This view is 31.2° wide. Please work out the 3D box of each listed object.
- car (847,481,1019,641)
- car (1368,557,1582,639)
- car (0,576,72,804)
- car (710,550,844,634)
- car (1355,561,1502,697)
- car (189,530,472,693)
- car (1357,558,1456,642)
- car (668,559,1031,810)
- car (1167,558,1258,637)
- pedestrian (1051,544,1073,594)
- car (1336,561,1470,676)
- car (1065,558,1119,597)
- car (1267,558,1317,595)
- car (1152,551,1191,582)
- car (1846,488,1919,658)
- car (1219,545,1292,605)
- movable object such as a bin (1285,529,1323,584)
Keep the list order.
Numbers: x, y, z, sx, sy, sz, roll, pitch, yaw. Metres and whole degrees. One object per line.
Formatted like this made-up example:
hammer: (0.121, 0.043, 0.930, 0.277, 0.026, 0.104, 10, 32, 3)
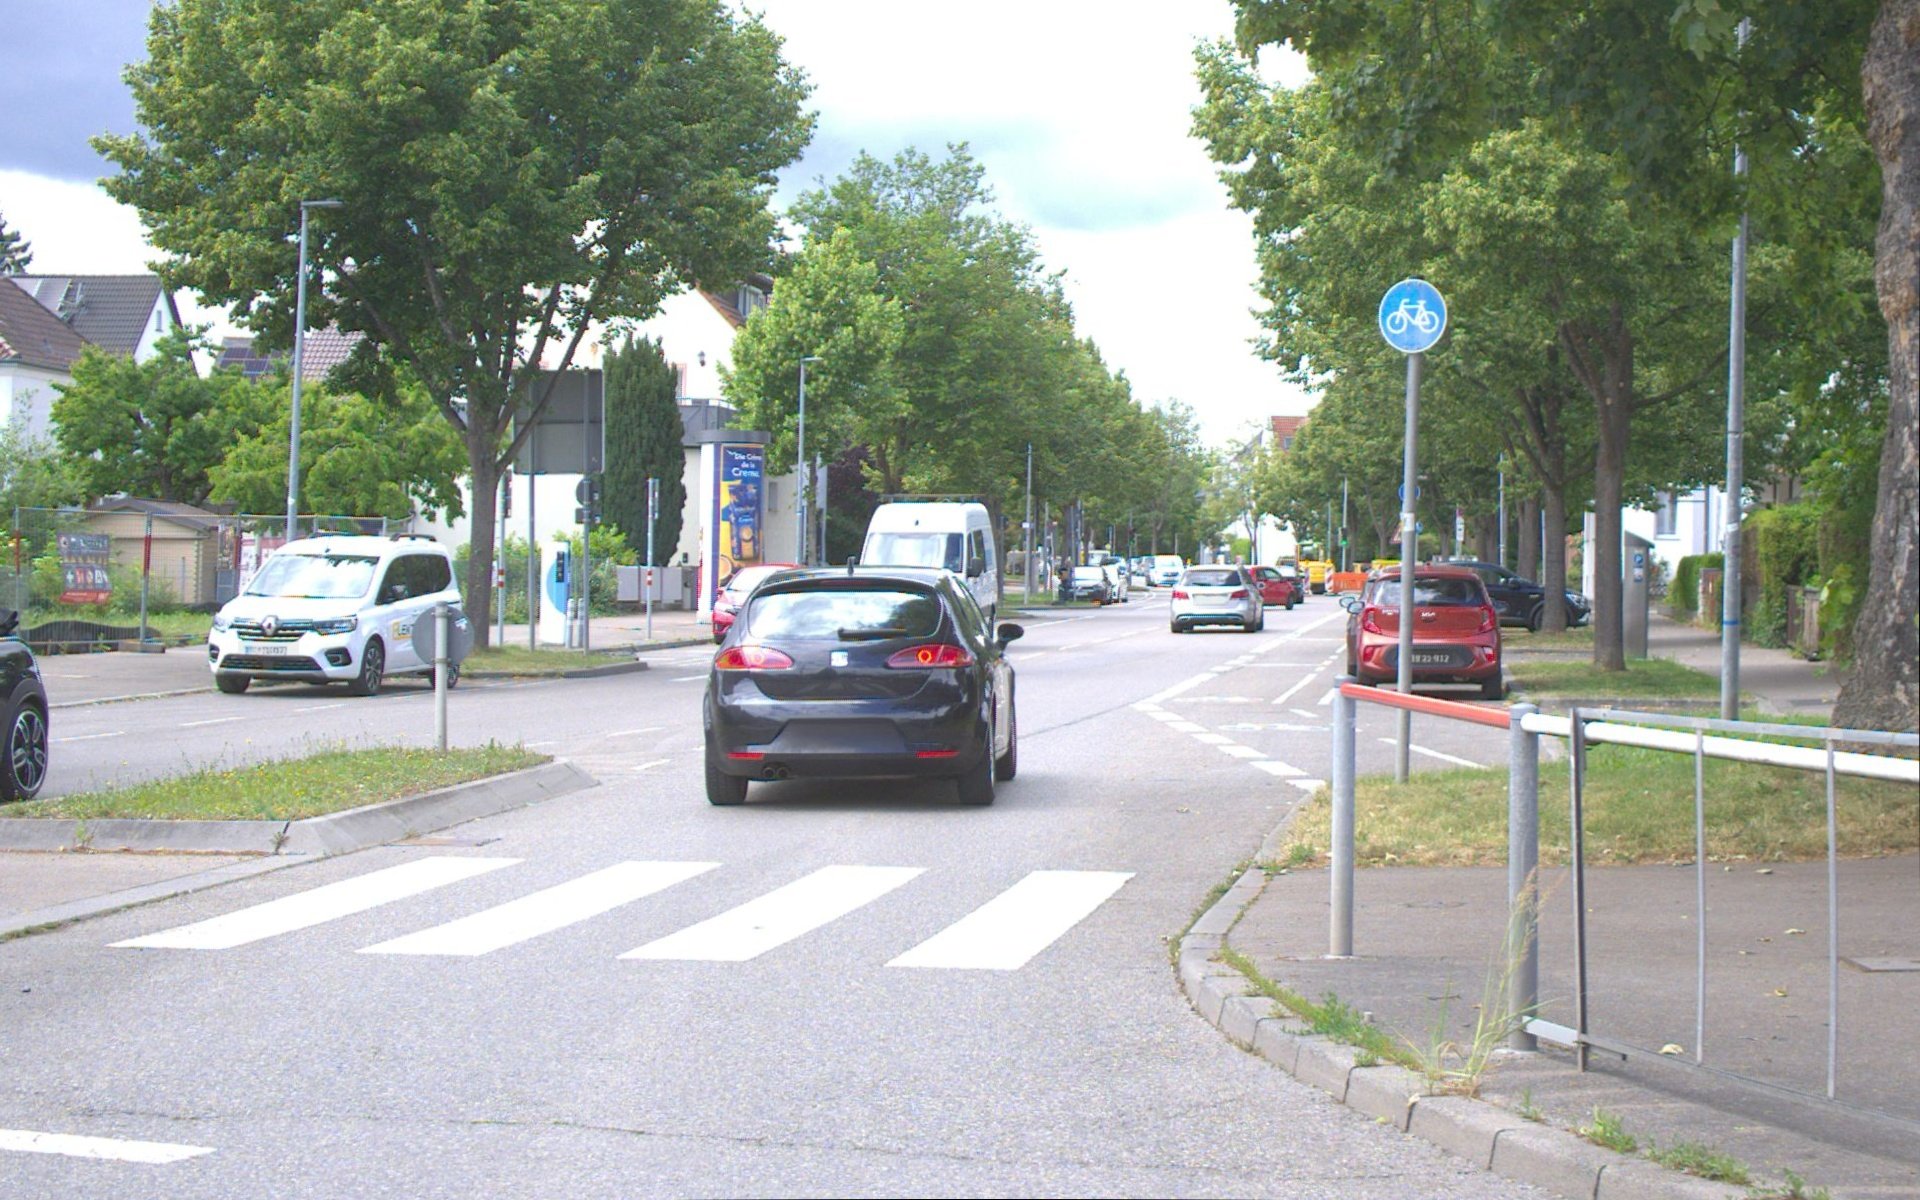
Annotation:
car: (-0.409, -0.699, 60.647, 2.020, 2.665, 5.803, 1, 1, 10)
car: (10.644, -0.052, 71.205, 4.217, 1.632, 1.693, 0, 1, 3)
car: (-6.691, 0.547, 19.955, 1.574, 1.357, 3.741, 1, 1, 10)
car: (-3.491, -0.182, 66.216, 1.686, 1.536, 4.130, 1, 1, 10)
car: (5.331, 0.314, 39.180, 1.565, 1.450, 3.667, 1, 0, 8)
car: (-7.249, 0.091, 40.051, 1.771, 1.764, 4.549, 1, 1, 10)
car: (7.907, -0.027, 61.170, 1.653, 1.411, 4.176, -1, 1, 6)
car: (-0.603, 0.463, 21.665, 1.819, 1.433, 3.739, 0, 1, 6)
car: (5.568, -0.078, 75.611, 1.906, 1.680, 3.739, 0, 1, 6)
pedestrian: (3.536, -1.067, 118.738, 0.543, 1.675, 0.749, 2, 2, 16)
car: (5.775, 0.210, 45.135, 1.653, 1.411, 4.176, -1, 1, 6)
car: (4.843, -0.838, 125.778, 1.643, 1.415, 4.019, 0, 1, 7)
car: (12.572, -0.898, 130.211, 1.810, 1.370, 3.692, 1, 1, 5)
car: (12.667, -1.999, 205.944, 1.967, 1.824, 4.817, 1, 1, 8)
car: (16.814, -0.407, 53.187, 5.714, 2.583, 1.998, 1, 2, 4)
car: (9.638, -0.828, 112.065, 1.908, 1.875, 3.998, 1, 1, 11)
movable object such as a bin: (16.463, -2.090, 164.675, 1.768, 2.565, 3.739, 1, 1, 6)
